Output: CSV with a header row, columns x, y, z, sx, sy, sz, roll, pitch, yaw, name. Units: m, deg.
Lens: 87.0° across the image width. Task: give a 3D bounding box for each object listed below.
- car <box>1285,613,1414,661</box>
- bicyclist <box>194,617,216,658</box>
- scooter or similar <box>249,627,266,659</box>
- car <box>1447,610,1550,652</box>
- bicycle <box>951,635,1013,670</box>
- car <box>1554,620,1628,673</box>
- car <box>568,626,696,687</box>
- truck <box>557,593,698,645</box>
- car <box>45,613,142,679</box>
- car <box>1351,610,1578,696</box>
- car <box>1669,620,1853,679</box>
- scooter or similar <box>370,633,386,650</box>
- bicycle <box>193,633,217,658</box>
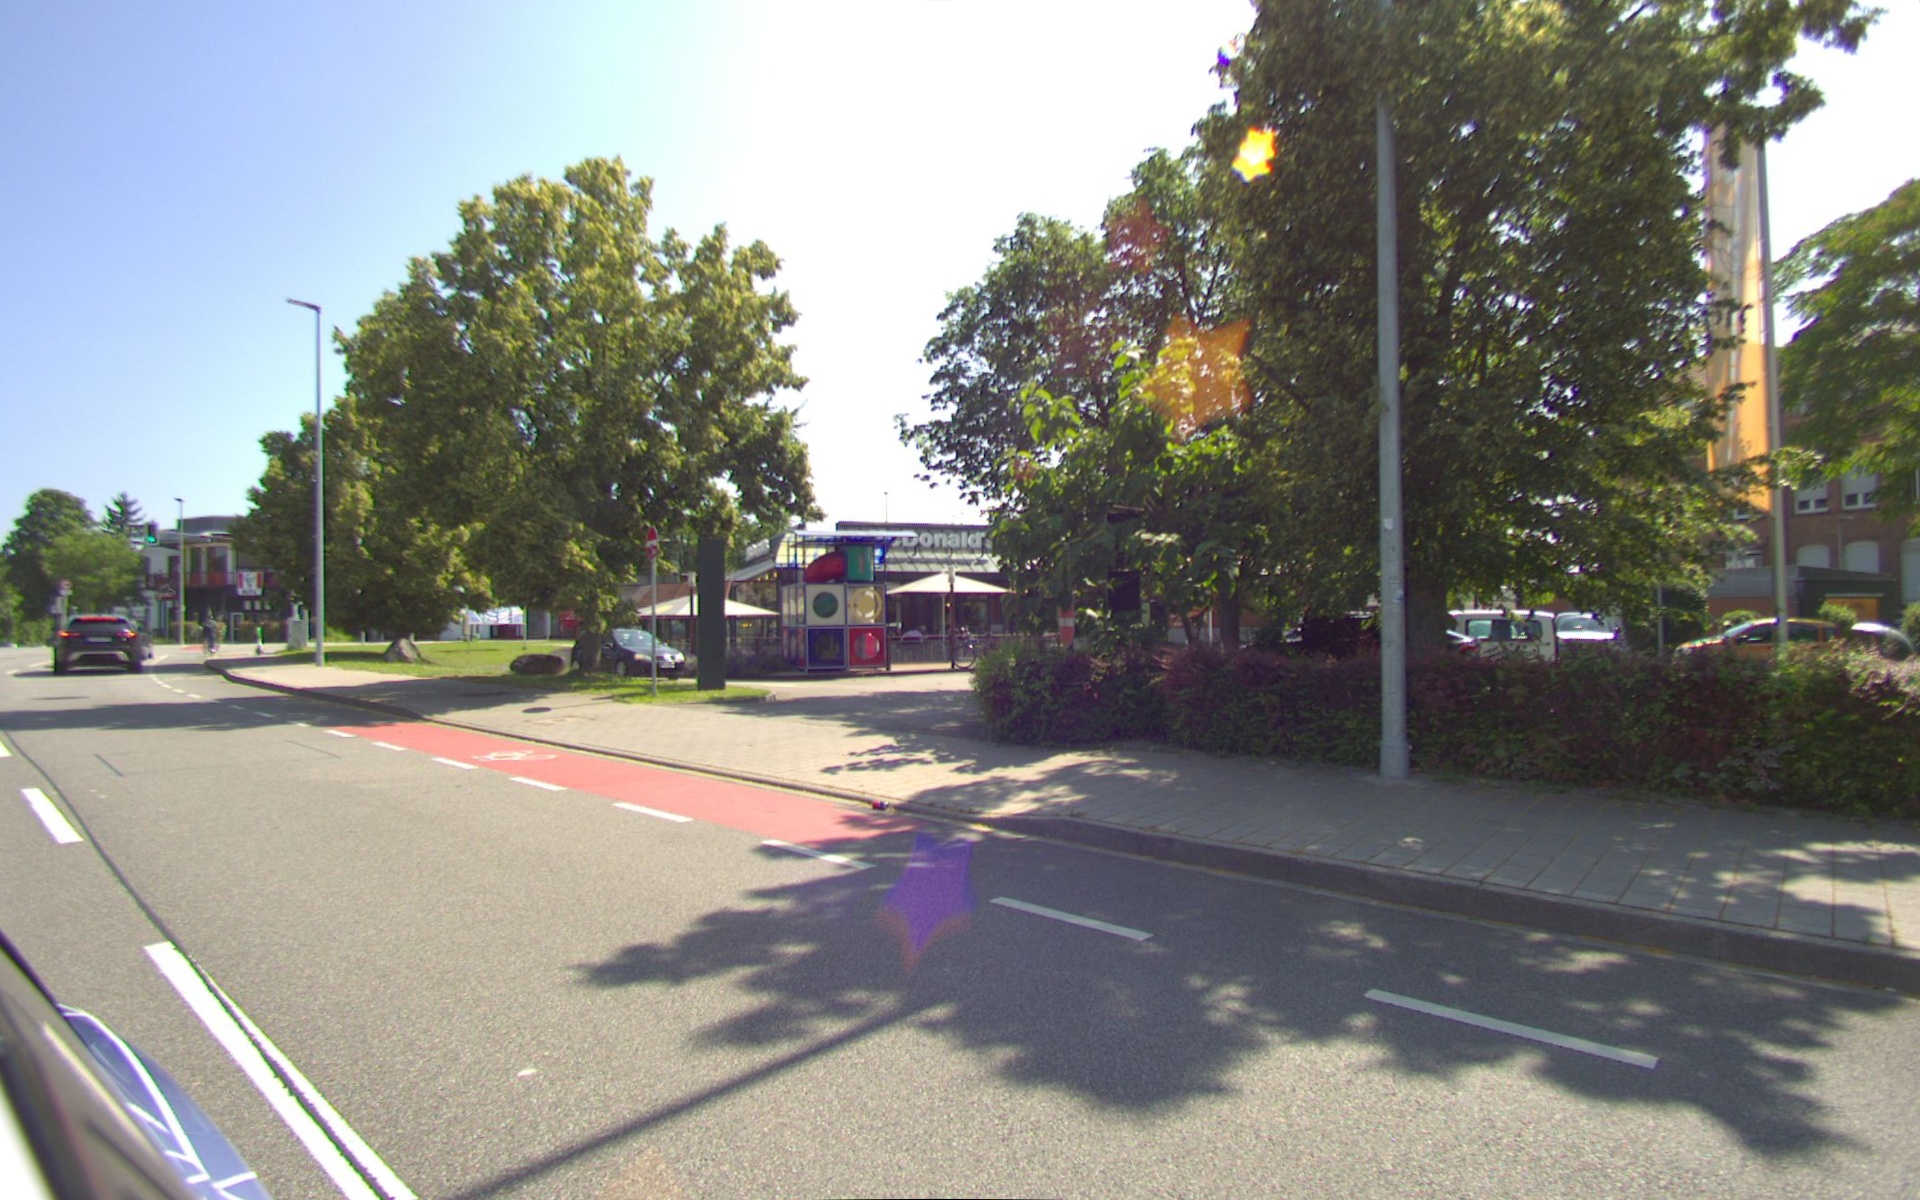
x,y,z,sx,sy,sz,roll,pitch,yaw,name
14.529,1.376,37.788,4.329,1.697,1.758,-1,-2,28,car
-33.962,1.690,45.507,0.700,1.802,0.811,1,-2,-32,bicyclist
-26.998,1.638,38.900,0.465,1.193,1.369,1,-2,-32,scooter or similar
29.816,1.711,56.211,1.965,2.194,4.819,0,-2,-26,car
0.648,1.535,29.850,1.826,1.000,0.309,0,-2,-19,bicycle
17.761,1.279,28.595,1.388,1.386,3.316,-1,-2,26,car
-9.242,1.522,28.320,1.837,1.564,4.193,1,-2,-42,car
-22.848,1.298,69.502,9.009,3.412,3.325,0,-2,-22,truck
-24.671,1.269,28.756,1.926,1.708,4.618,1,-2,-42,car
10.861,1.128,22.133,4.217,1.748,1.706,-1,-2,20,car
20.053,1.229,25.497,3.329,1.386,1.576,-1,-2,28,car
-40.337,2.864,70.147,0.492,1.132,1.508,0,-2,-12,scooter or similar
-33.964,2.053,45.533,0.687,1.113,1.760,3,-3,-32,bicycle
